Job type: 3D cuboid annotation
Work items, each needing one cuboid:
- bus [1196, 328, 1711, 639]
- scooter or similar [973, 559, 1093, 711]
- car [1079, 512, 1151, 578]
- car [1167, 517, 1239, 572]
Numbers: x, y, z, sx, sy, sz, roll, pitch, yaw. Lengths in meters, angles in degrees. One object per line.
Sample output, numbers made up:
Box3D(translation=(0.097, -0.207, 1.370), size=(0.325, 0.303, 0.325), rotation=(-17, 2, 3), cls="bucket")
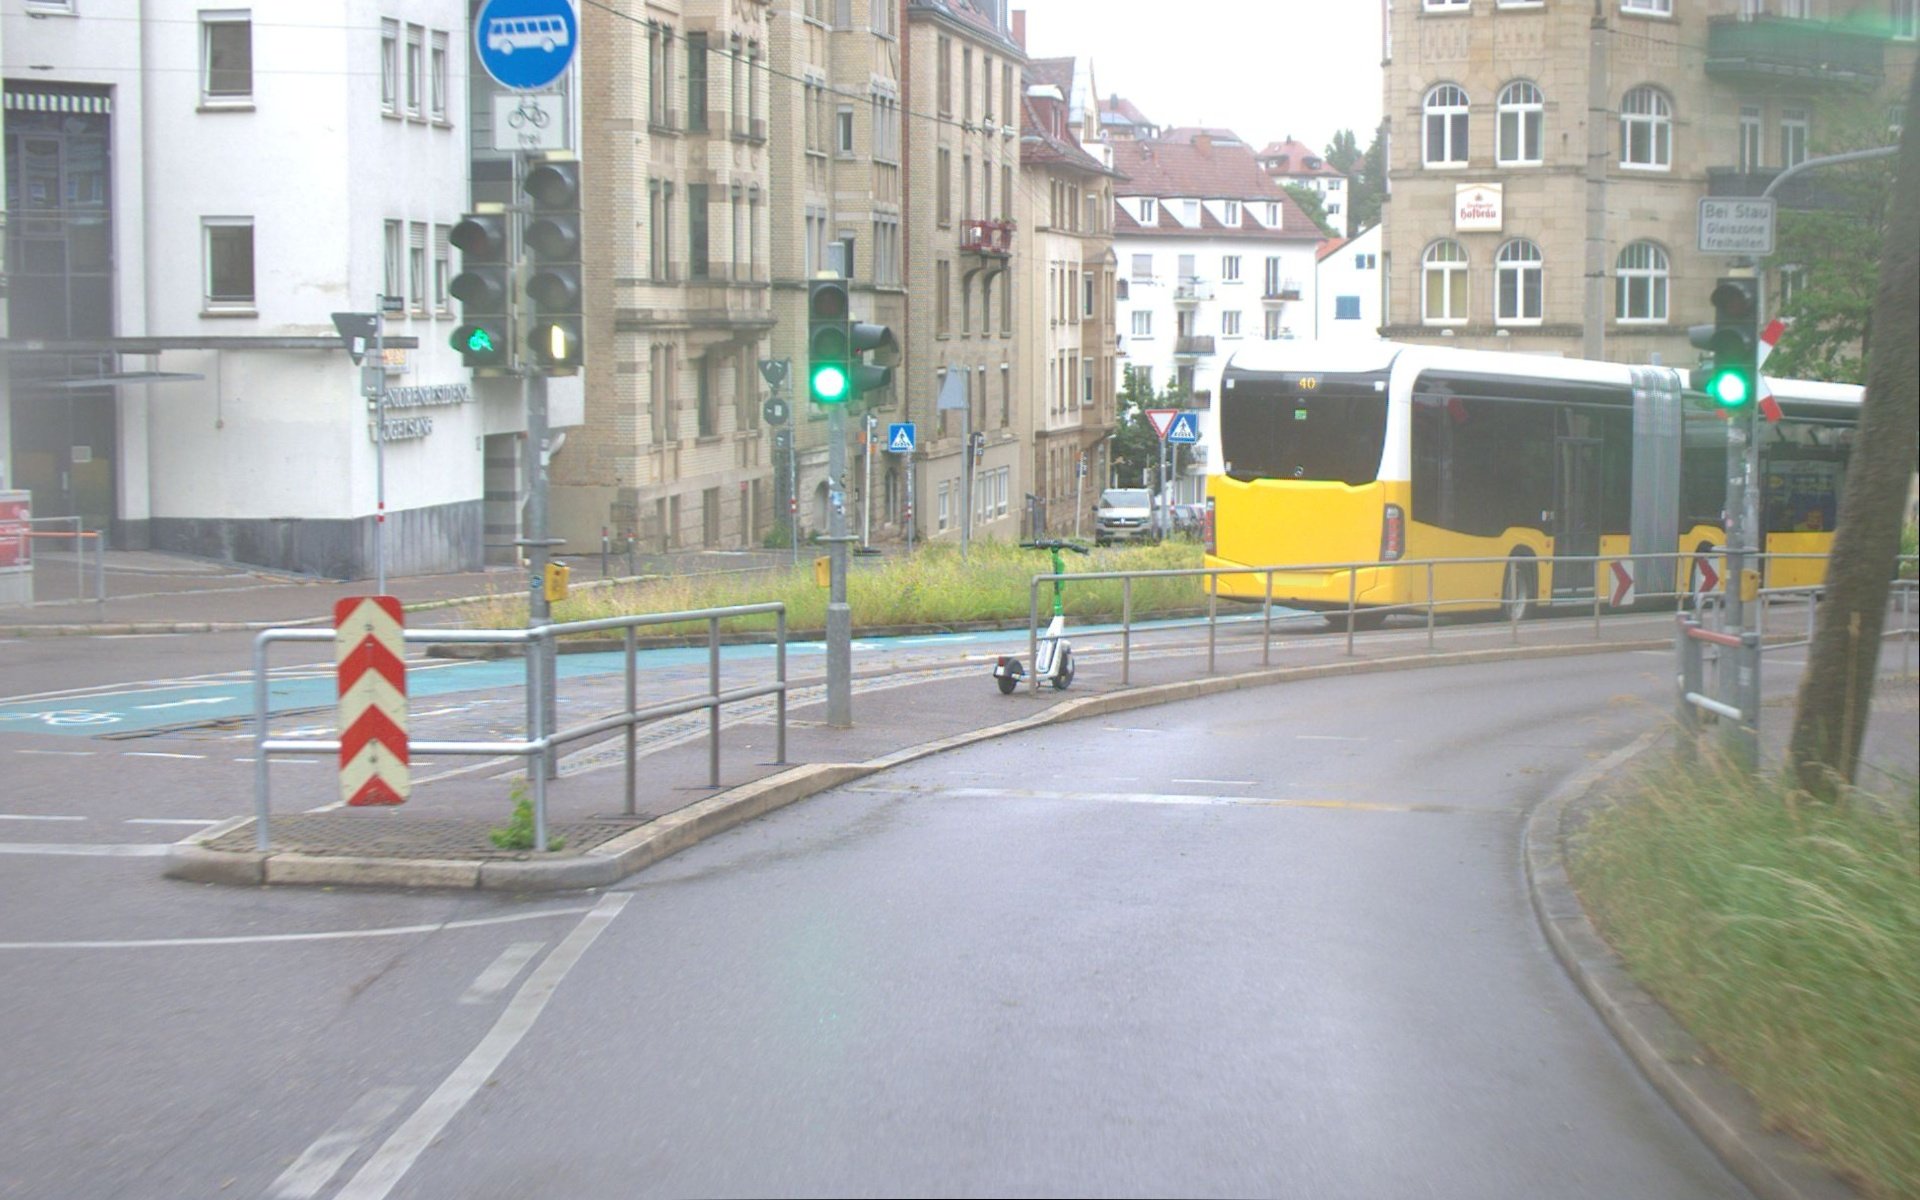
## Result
Box3D(translation=(6.354, -1.322, 42.641), size=(2.595, 3.457, 9.090), rotation=(2, 1, 34), cls="bus")
Box3D(translation=(0.570, 0.251, 26.275), size=(0.433, 1.109, 1.604), rotation=(2, 1, 18), cls="scooter or similar")
Box3D(translation=(5.178, -1.838, 115.407), size=(2.137, 2.129, 4.857), rotation=(1, 1, 0), cls="car")
Box3D(translation=(9.763, -2.192, 137.652), size=(2.138, 2.129, 4.854), rotation=(1, 1, 13), cls="car")
